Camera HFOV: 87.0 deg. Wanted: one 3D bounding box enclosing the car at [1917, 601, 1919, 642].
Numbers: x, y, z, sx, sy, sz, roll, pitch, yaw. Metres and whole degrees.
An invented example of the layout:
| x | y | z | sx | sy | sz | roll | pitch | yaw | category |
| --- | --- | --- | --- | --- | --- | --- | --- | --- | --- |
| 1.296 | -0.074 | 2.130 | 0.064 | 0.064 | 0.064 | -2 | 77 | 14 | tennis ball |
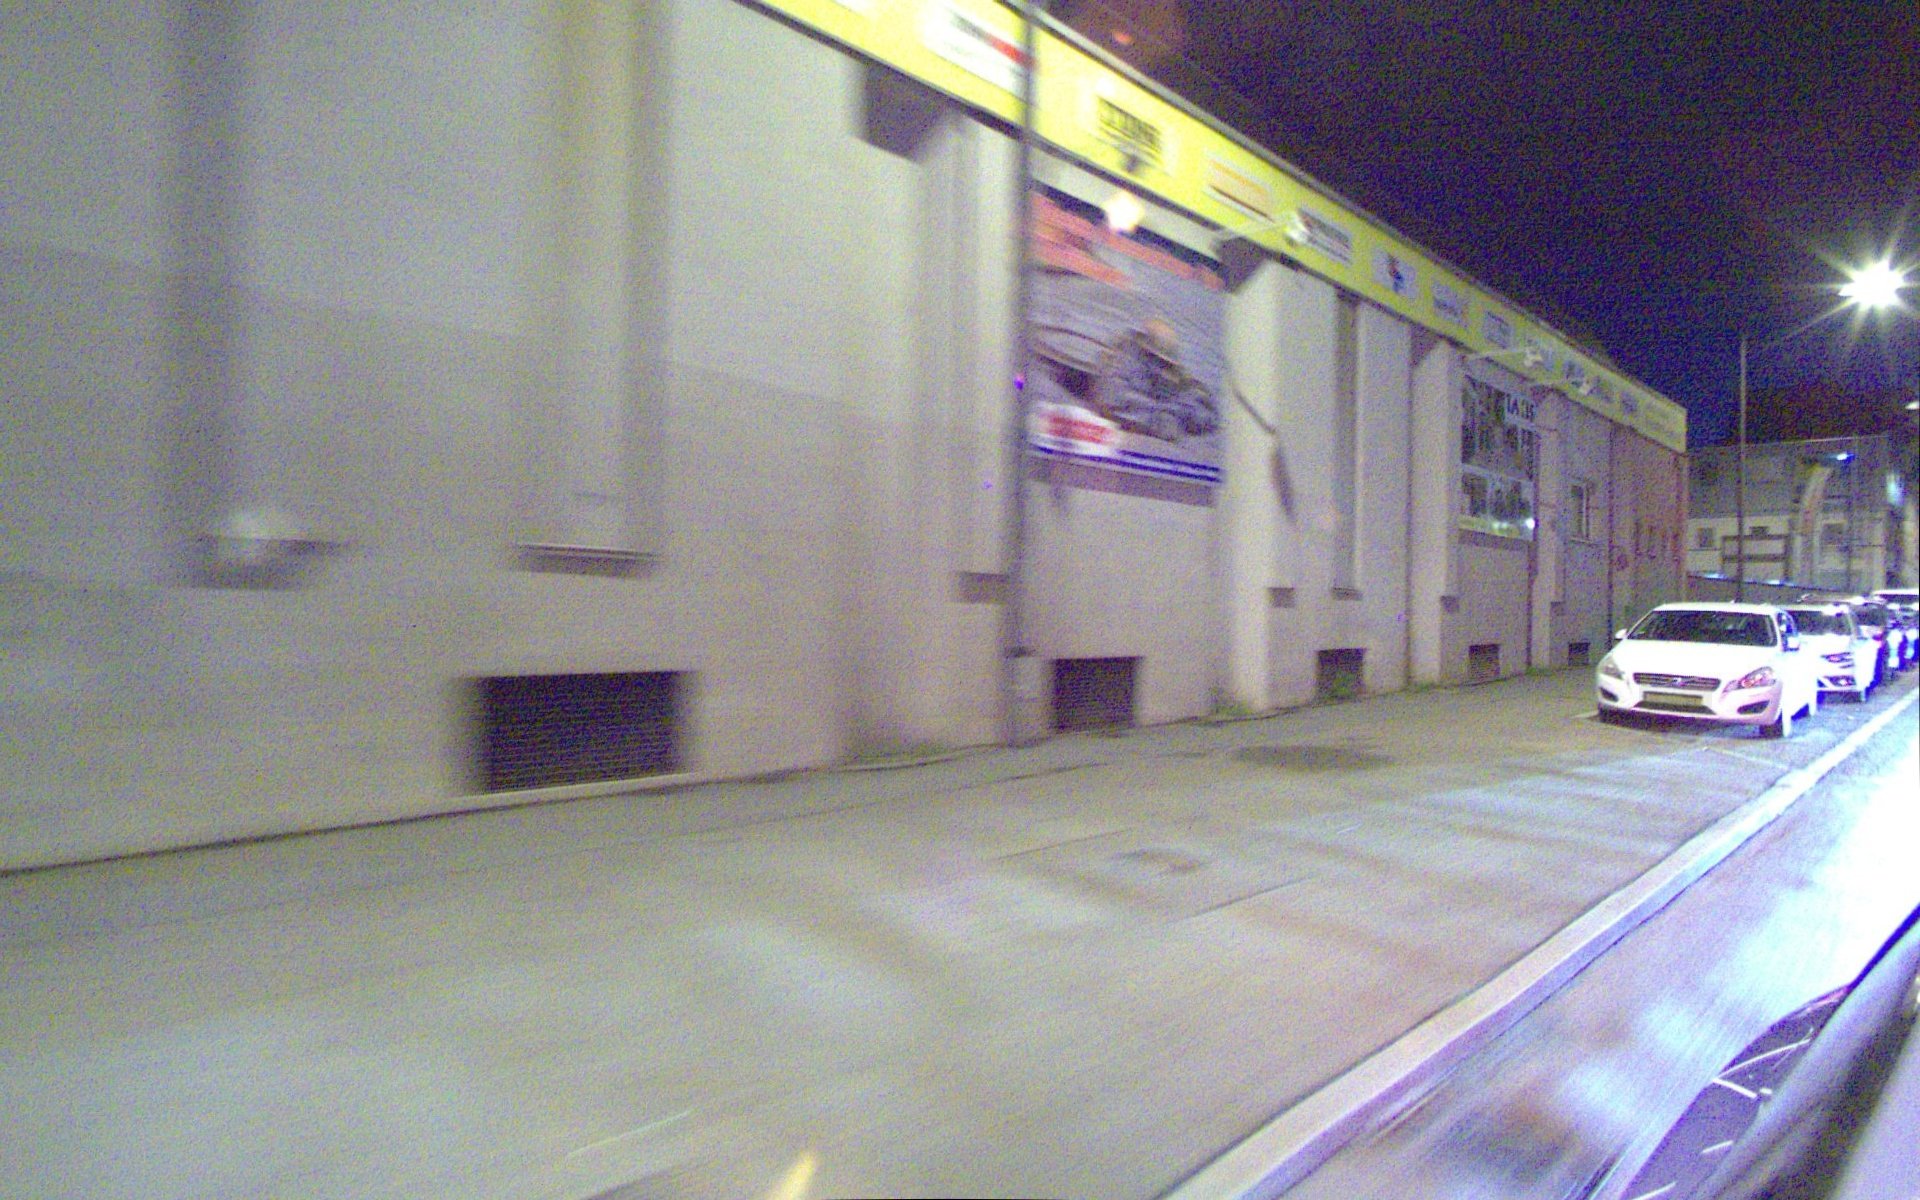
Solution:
| x | y | z | sx | sy | sz | roll | pitch | yaw | category |
| --- | --- | --- | --- | --- | --- | --- | --- | --- | --- |
| 36.820 | 0.766 | 37.556 | 3.655 | 1.485 | 1.597 | -1 | 1 | -42 | car |

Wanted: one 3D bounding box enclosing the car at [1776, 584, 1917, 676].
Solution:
| x | y | z | sx | sy | sz | roll | pitch | yaw | category |
| --- | --- | --- | --- | --- | --- | --- | --- | --- | --- |
| 18.110 | 0.542 | 20.611 | 4.384 | 1.643 | 1.825 | 0 | 1 | -45 | car |

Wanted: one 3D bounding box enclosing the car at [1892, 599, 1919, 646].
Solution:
| x | y | z | sx | sy | sz | roll | pitch | yaw | category |
| --- | --- | --- | --- | --- | --- | --- | --- | --- | --- |
| 32.272 | 0.714 | 33.604 | 3.825 | 1.485 | 1.597 | -1 | 1 | -42 | car |

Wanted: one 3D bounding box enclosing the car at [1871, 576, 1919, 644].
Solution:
| x | y | z | sx | sy | sz | roll | pitch | yaw | category |
| --- | --- | --- | --- | --- | --- | --- | --- | --- | --- |
| 28.881 | 0.298 | 30.366 | 4.692 | 1.898 | 1.803 | 0 | 2 | -43 | car |

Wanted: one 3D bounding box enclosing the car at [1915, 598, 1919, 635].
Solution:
| x | y | z | sx | sy | sz | roll | pitch | yaw | category |
| --- | --- | --- | --- | --- | --- | --- | --- | --- | --- |
| 40.252 | 0.655 | 41.210 | 3.826 | 1.444 | 1.781 | -1 | 1 | -43 | car |

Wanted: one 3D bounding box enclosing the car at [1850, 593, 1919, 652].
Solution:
| x | y | z | sx | sy | sz | roll | pitch | yaw | category |
| --- | --- | --- | --- | --- | --- | --- | --- | --- | --- |
| 25.555 | 0.593 | 27.179 | 4.113 | 1.445 | 1.821 | 0 | 2 | -39 | car |

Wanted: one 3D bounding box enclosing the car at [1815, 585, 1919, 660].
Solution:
| x | y | z | sx | sy | sz | roll | pitch | yaw | category |
| --- | --- | --- | --- | --- | --- | --- | --- | --- | --- |
| 21.937 | 0.493 | 24.167 | 4.551 | 1.608 | 1.825 | 0 | 1 | -44 | car |

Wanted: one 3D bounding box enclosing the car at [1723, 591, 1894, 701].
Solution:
| x | y | z | sx | sy | sz | roll | pitch | yaw | category |
| --- | --- | --- | --- | --- | --- | --- | --- | --- | --- |
| 14.090 | 0.637 | 16.707 | 4.473 | 1.563 | 1.775 | -1 | 1 | -45 | car |

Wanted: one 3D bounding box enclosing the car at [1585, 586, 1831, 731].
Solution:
| x | y | z | sx | sy | sz | roll | pitch | yaw | category |
| --- | --- | --- | --- | --- | --- | --- | --- | --- | --- |
| 9.549 | 0.575 | 12.772 | 4.473 | 1.507 | 1.861 | -1 | 1 | -45 | car |
